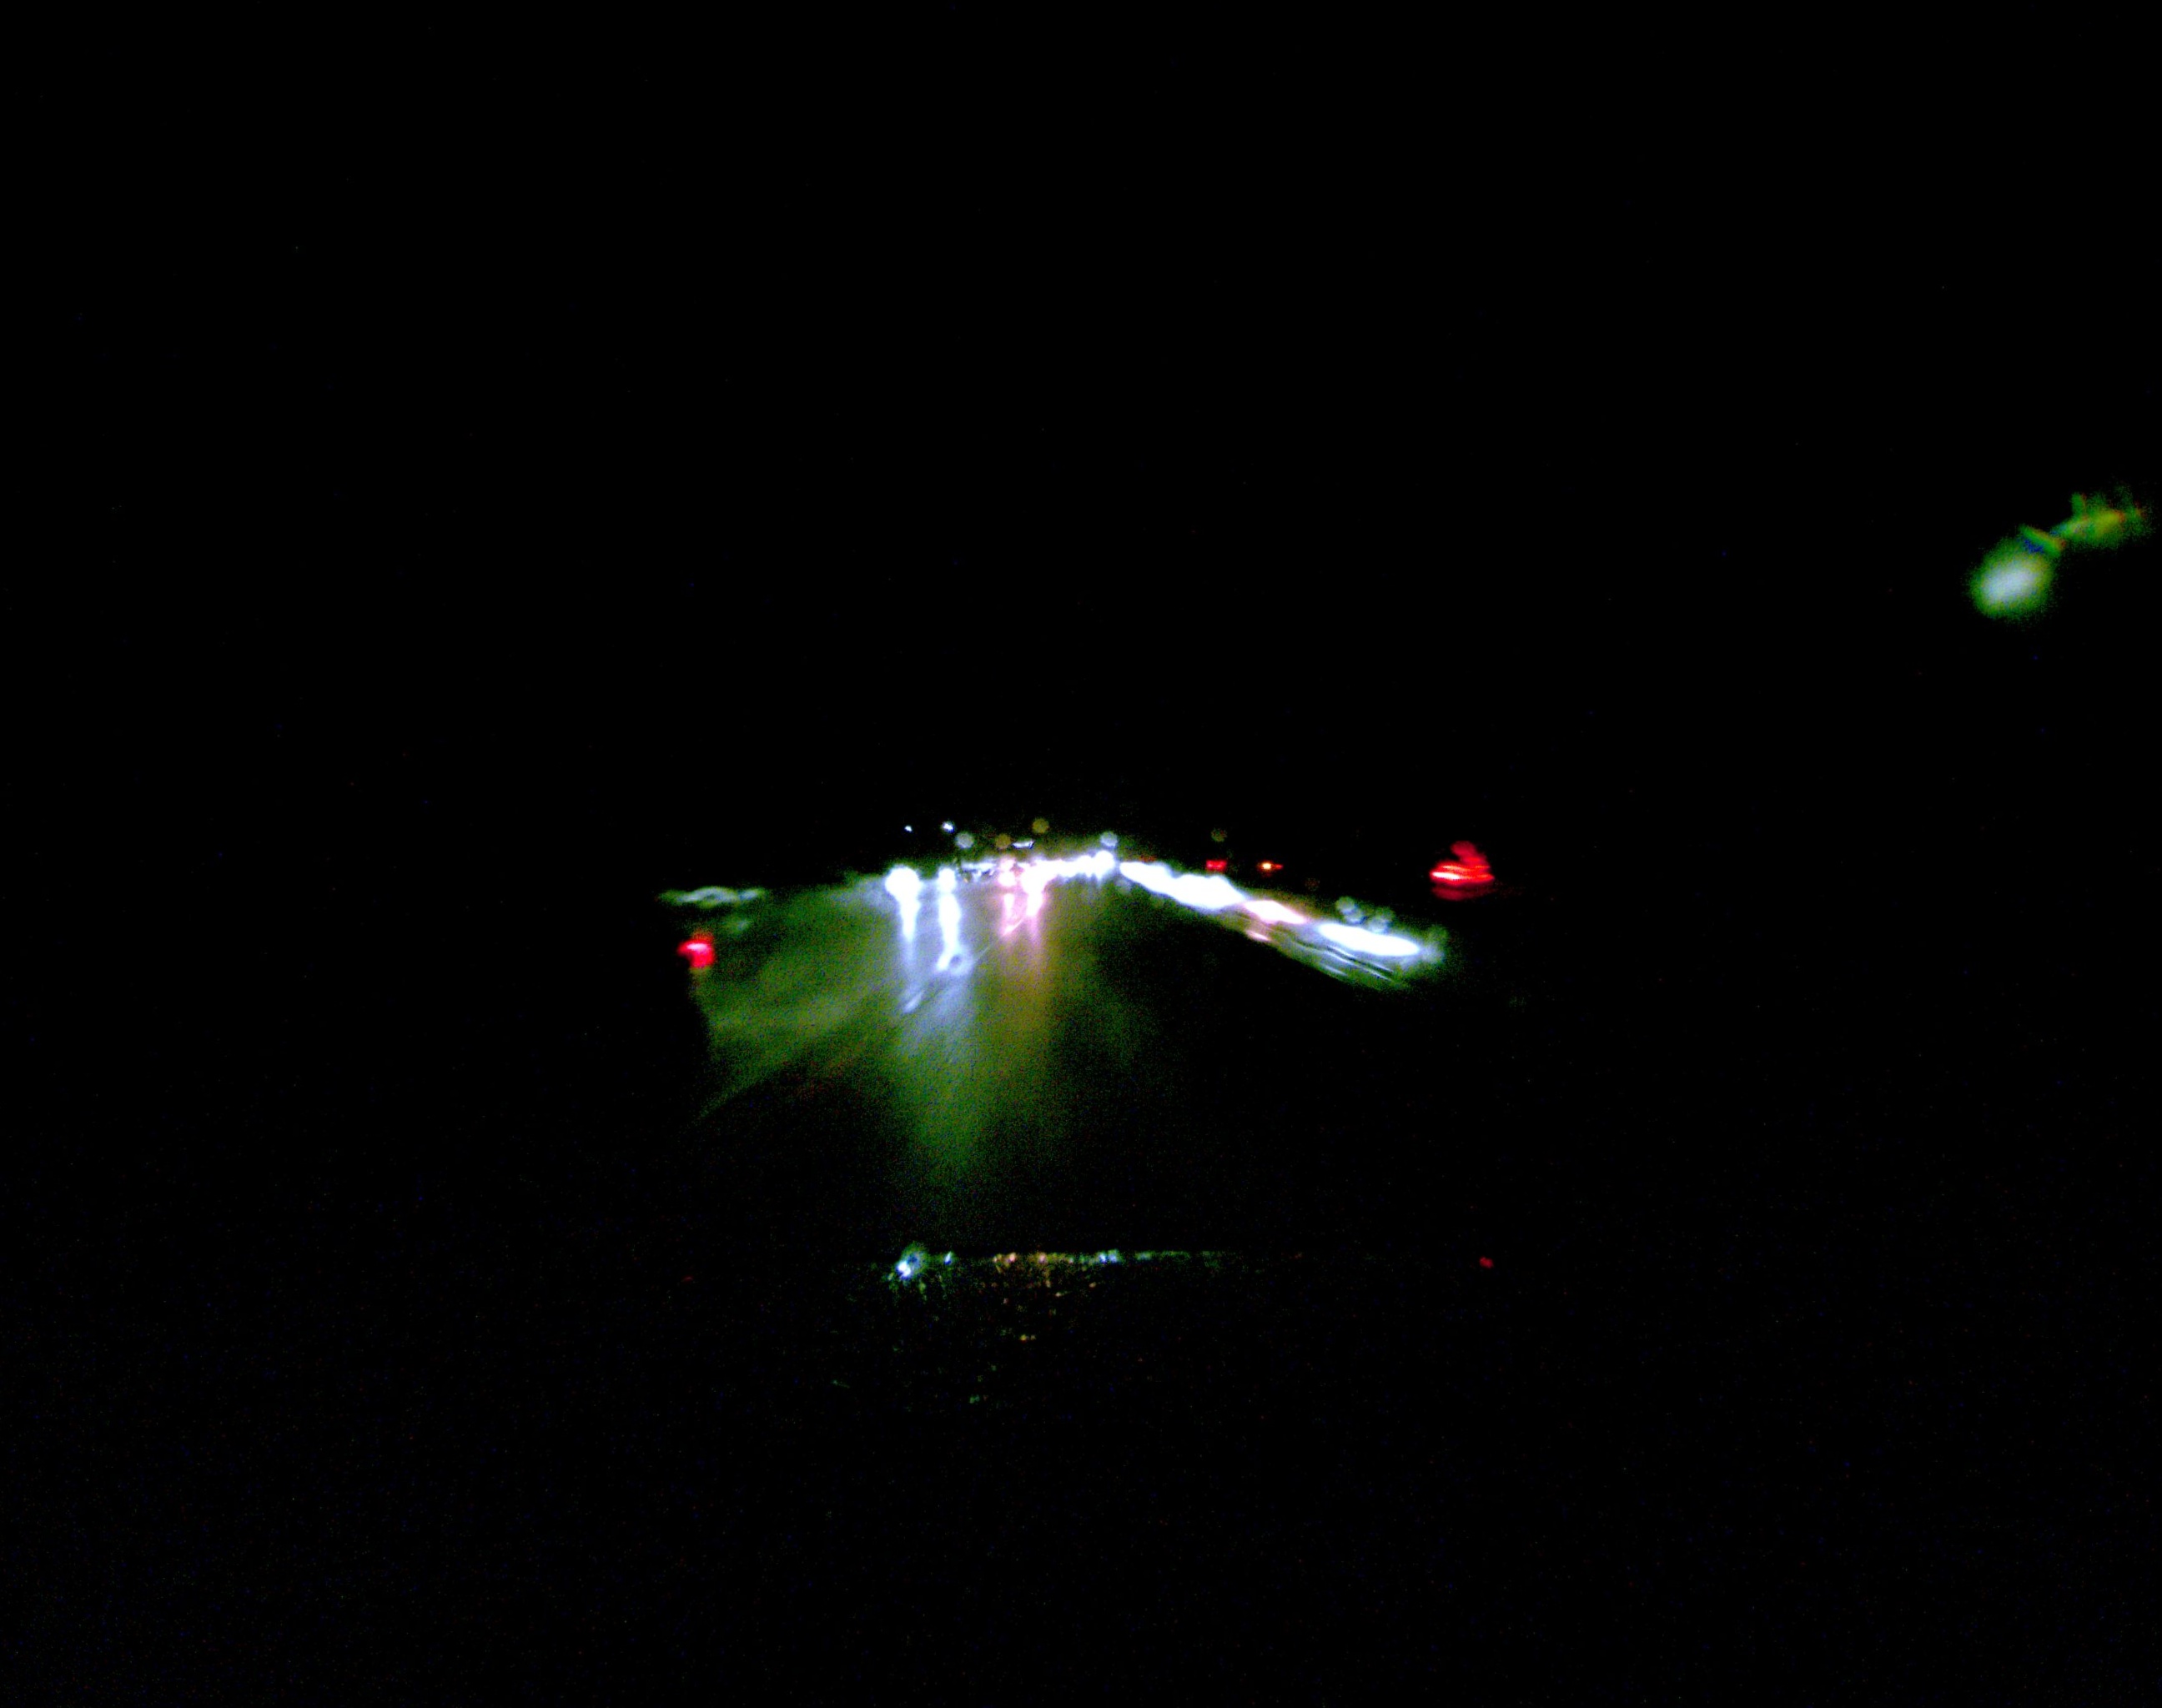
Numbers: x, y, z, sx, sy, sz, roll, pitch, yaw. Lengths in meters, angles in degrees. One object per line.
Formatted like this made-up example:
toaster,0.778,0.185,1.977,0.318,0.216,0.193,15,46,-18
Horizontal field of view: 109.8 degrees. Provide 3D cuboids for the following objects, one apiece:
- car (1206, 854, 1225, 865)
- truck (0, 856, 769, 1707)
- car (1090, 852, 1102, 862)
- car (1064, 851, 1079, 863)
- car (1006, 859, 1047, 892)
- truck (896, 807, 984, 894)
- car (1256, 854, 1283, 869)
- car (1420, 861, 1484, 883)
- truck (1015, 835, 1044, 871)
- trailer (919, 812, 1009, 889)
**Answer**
car,18.306,0.678,103.713,1.787,1.414,4.352,1,0,-1
truck,-3.104,0.919,2.658,1.848,1.686,4.854,-2,0,1
car,2.208,0.450,112.510,1.619,1.452,3.768,-2,1,2
car,-1.313,0.411,107.018,1.944,1.521,4.000,-2,1,2
car,-2.724,1.058,38.600,1.619,1.494,3.768,-2,1,2
truck,-7.297,-0.197,40.390,2.866,4.079,7.014,-3,0,2
car,21.997,0.826,88.912,1.897,1.574,5.371,-2,0,2
car,21.089,1.001,43.387,1.642,1.096,4.046,-3,0,0
truck,-6.274,-0.143,93.213,2.777,4.168,6.017,-3,0,2
trailer,-6.977,-0.257,47.977,2.871,4.074,13.642,-2,0,2
